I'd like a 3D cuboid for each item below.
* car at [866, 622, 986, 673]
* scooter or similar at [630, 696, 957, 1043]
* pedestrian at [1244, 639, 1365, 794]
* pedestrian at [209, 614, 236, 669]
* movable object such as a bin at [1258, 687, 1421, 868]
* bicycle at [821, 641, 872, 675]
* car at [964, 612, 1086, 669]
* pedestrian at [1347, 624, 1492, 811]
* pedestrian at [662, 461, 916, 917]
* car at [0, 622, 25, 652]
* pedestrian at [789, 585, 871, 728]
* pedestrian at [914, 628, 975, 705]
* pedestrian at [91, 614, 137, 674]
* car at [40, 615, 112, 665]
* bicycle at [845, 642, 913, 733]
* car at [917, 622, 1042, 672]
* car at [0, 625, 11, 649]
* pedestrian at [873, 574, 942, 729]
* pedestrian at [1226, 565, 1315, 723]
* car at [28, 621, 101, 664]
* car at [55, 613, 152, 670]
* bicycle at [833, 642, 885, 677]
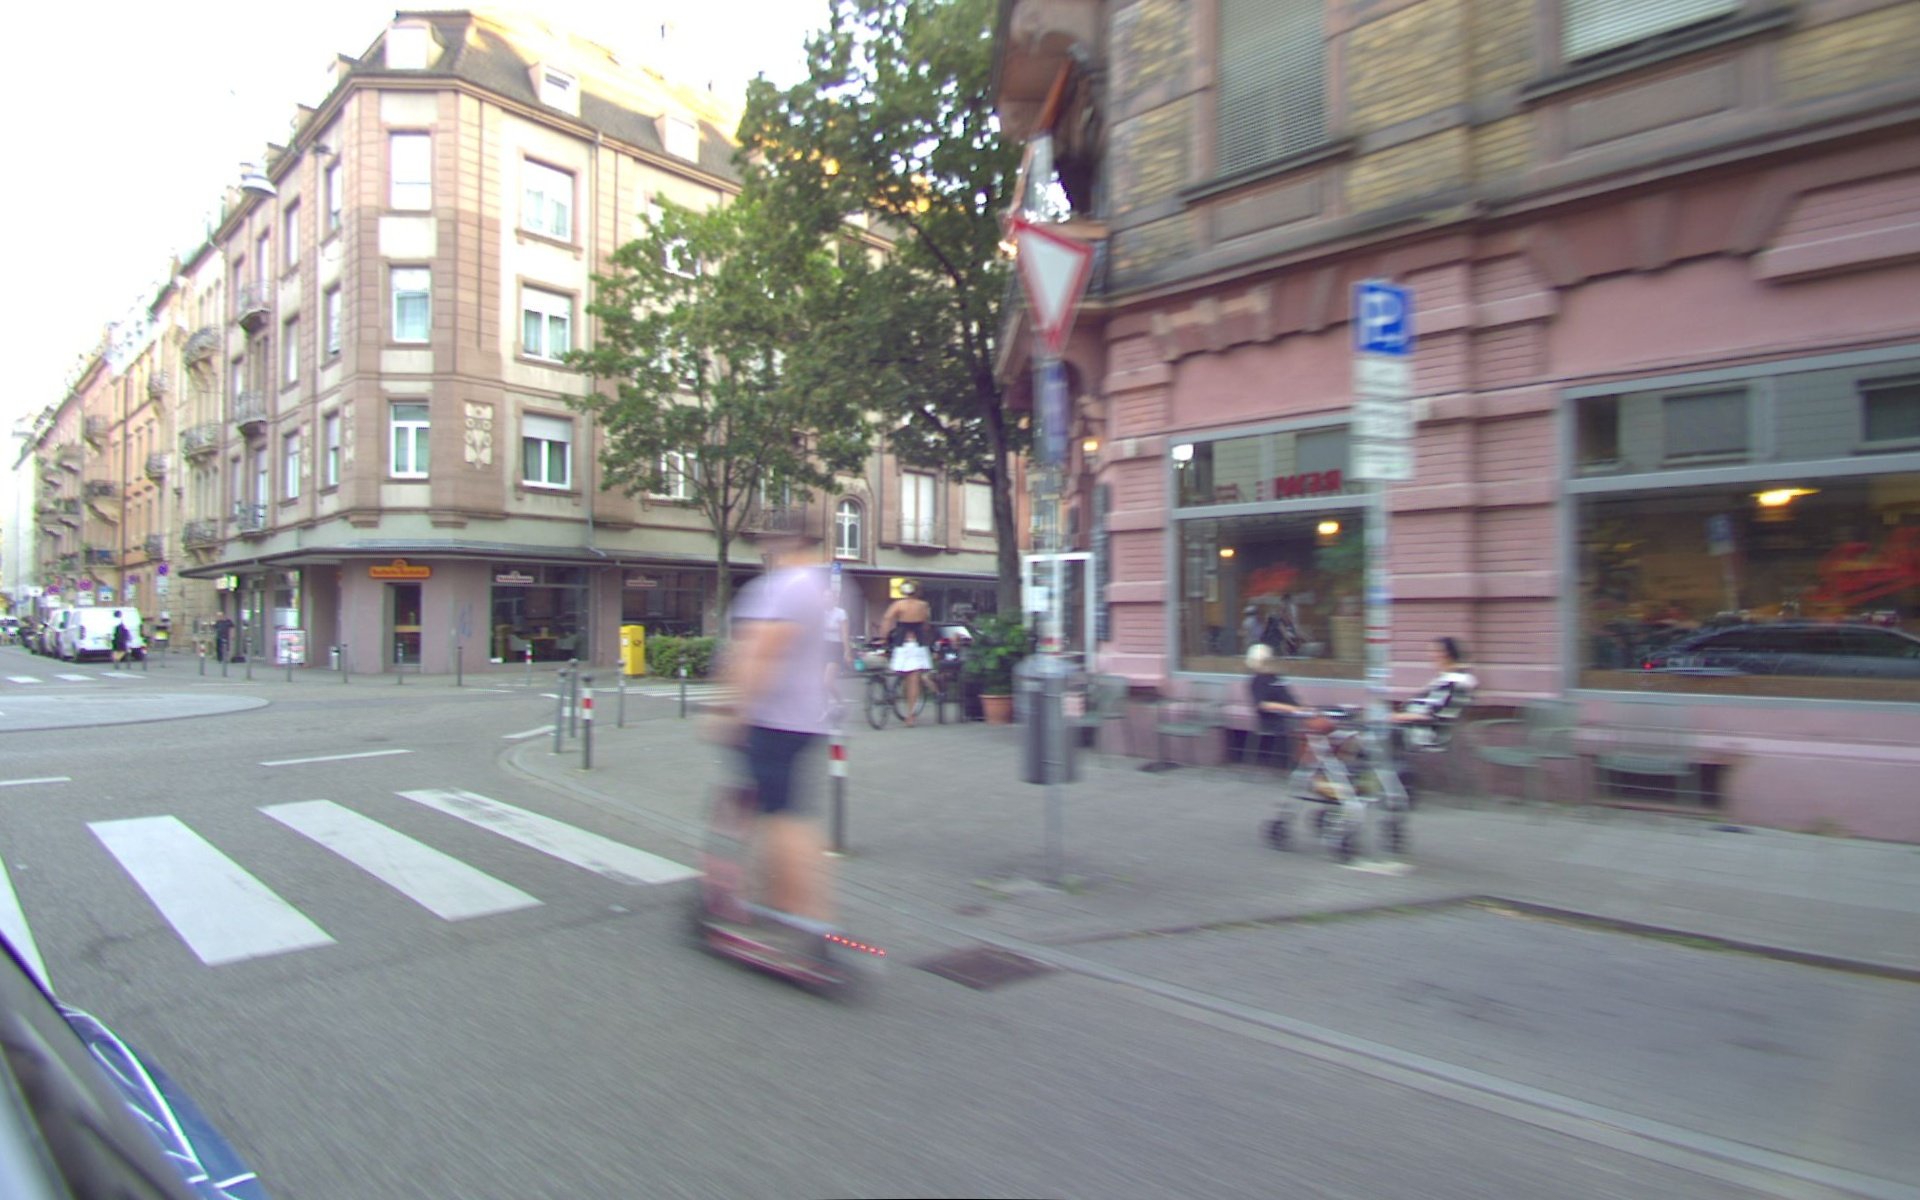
[{"bbox_3d":[-1.125,1.489,32.413,3.687,1.488,1.697,0,-2,43],"label":"car"},{"bbox_3d":[-0.708,0.999,4.216,1.172,1.112,0.798,-2,-3,43],"label":"scooter or similar"},{"bbox_3d":[2.776,0.905,8.180,0.791,1.152,0.497,0,0,44],"label":"pedestrian"},{"bbox_3d":[-24.514,1.363,33.656,0.644,1.792,0.694,0,-2,-29],"label":"pedestrian"},{"bbox_3d":[2.323,1.039,6.184,0.729,0.922,0.753,0,0,39],"label":"movable object such as a bin"},{"bbox_3d":[-3.254,1.663,28.993,1.467,0.902,0.477,0,0,-43],"label":"bicycle"},{"bbox_3d":[2.299,1.418,36.329,4.000,1.852,1.972,0,-2,43],"label":"car"},{"bbox_3d":[3.421,0.839,7.537,0.904,1.264,0.644,-2,1,28],"label":"pedestrian"},{"bbox_3d":[-0.706,0.339,4.242,0.672,1.673,0.798,-2,-3,43],"label":"pedestrian"},{"bbox_3d":[-61.589,2.368,64.883,4.541,1.835,2.112,-1,-1,43],"label":"car"},{"bbox_3d":[-1.733,0.758,13.637,0.748,1.825,1.045,-3,-3,11],"label":"pedestrian"},{"bbox_3d":[-0.271,1.181,17.936,0.734,1.315,0.782,-4,-5,38],"label":"pedestrian"},{"bbox_3d":[-25.780,1.316,30.853,0.736,1.757,1.217,0,-1,-21],"label":"pedestrian"},{"bbox_3d":[-36.310,1.600,41.528,4.327,1.918,1.854,-1,-1,44],"label":"car"},{"bbox_3d":[-1.002,1.073,12.874,0.604,1.033,1.773,-2,-2,3],"label":"bicycle"},{"bbox_3d":[0.630,1.565,34.260,3.998,1.522,1.827,0,-2,41],"label":"car"},{"bbox_3d":[-68.981,2.640,72.212,1.814,1.654,3.928,0,0,-44],"label":"car"},{"bbox_3d":[-0.653,0.651,12.897,0.715,1.869,1.021,-2,-2,3],"label":"pedestrian"},{"bbox_3d":[3.536,0.489,11.562,0.647,1.709,0.666,-4,-1,-4],"label":"pedestrian"},{"bbox_3d":[-40.454,1.872,45.684,4.541,1.835,2.112,-1,-1,44],"label":"car"},{"bbox_3d":[-31.733,1.474,37.440,4.768,1.973,2.113,-1,-1,42],"label":"car"},{"bbox_3d":[-2.844,1.665,28.494,1.467,0.902,0.477,0,0,-43],"label":"bicycle"}]
